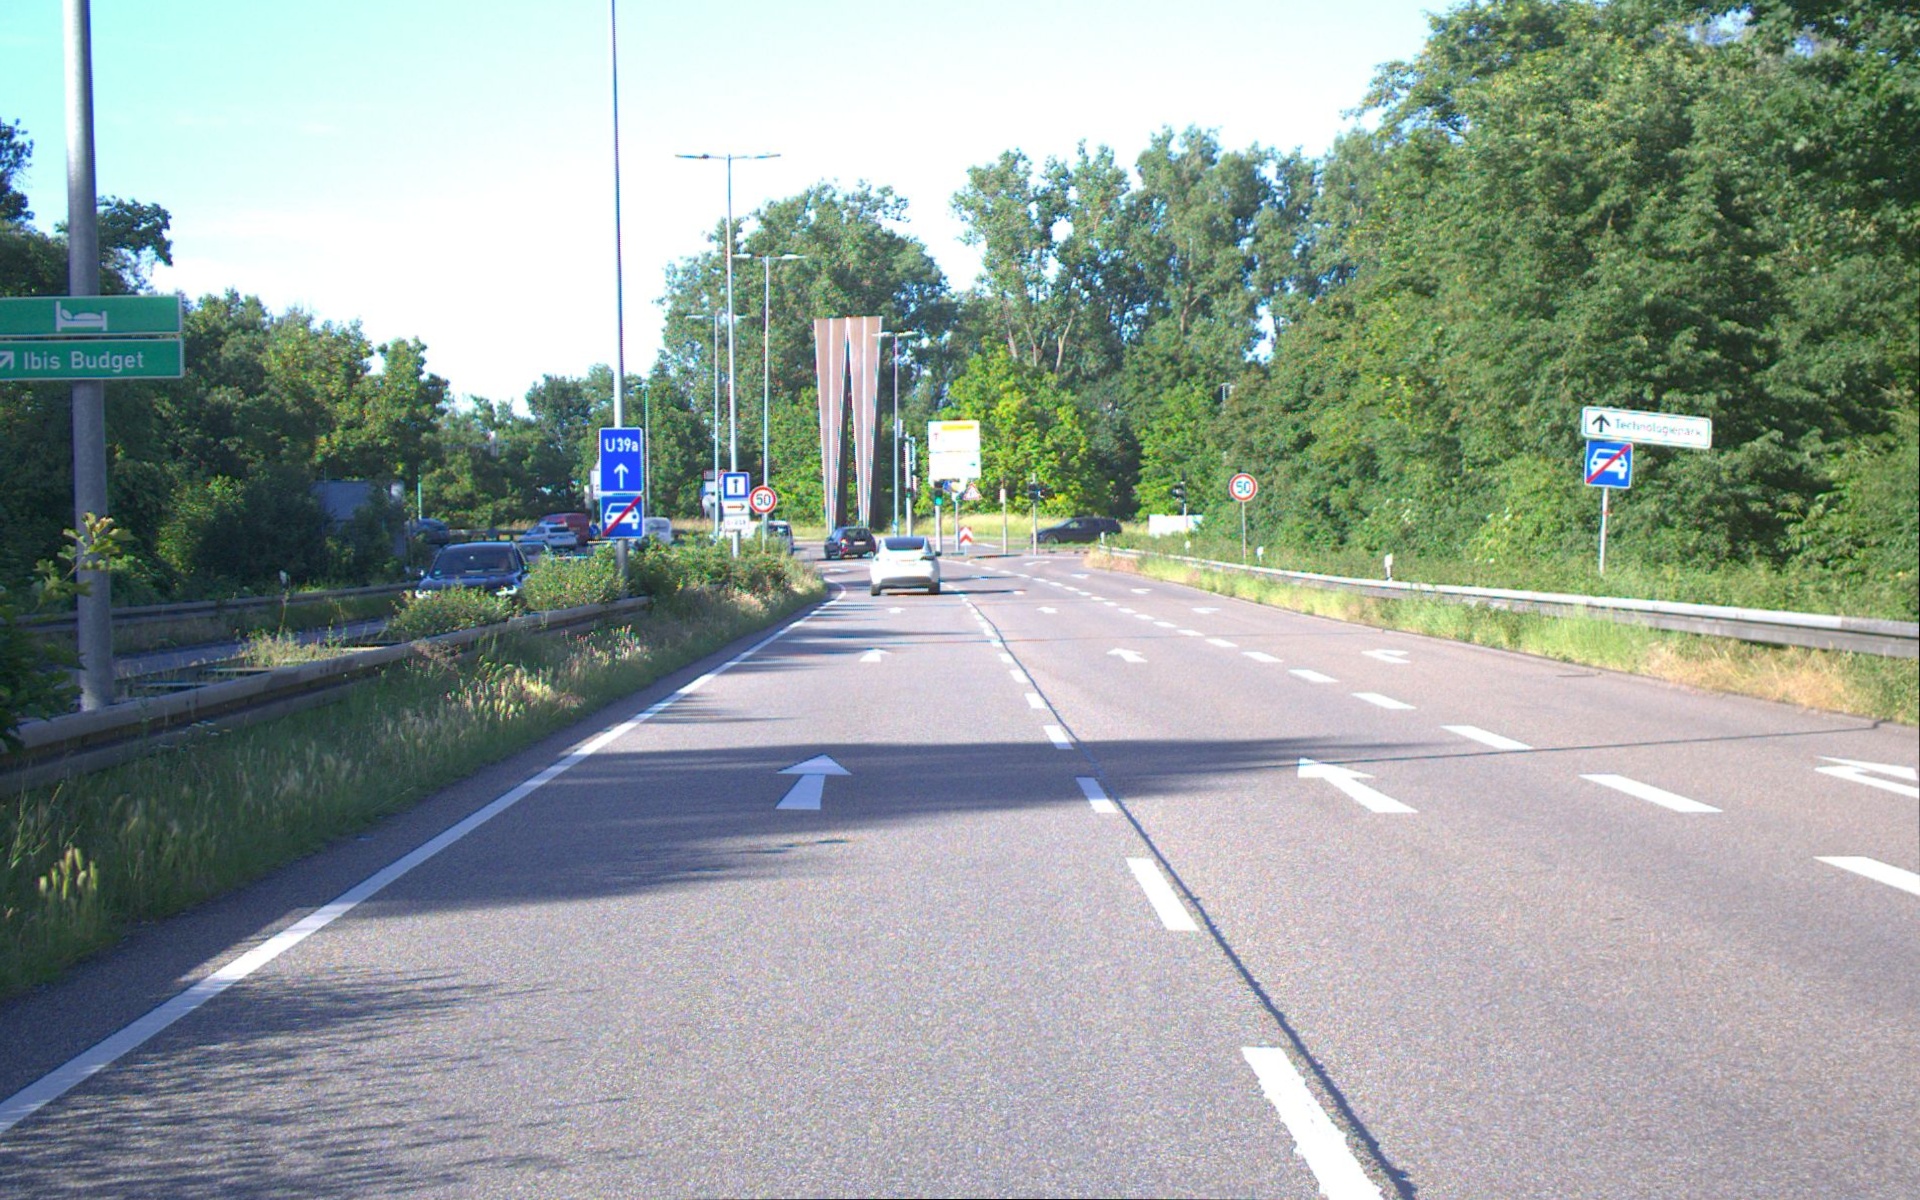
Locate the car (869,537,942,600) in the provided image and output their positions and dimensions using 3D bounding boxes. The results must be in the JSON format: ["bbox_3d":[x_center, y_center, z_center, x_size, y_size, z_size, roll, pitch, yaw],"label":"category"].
[{"bbox_3d":[-1.539,-0.906,96.455,1.993,1.634,4.129,-1,2,-1],"label":"car"}]

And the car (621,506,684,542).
[{"bbox_3d":[-15.193,-3.755,169.729,1.968,1.693,4.001,-2,2,-22],"label":"car"}]

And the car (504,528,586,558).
[{"bbox_3d":[-21.586,-2.956,178.671,2.267,1.503,3.998,-2,1,-43],"label":"car"}]

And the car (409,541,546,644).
[{"bbox_3d":[-8.381,-0.164,60.093,1.785,1.704,4.547,-1,1,-1],"label":"car"}]

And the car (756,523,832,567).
[{"bbox_3d":[-7.341,-2.441,151.996,1.993,1.873,4.250,-2,2,-23],"label":"car"}]
